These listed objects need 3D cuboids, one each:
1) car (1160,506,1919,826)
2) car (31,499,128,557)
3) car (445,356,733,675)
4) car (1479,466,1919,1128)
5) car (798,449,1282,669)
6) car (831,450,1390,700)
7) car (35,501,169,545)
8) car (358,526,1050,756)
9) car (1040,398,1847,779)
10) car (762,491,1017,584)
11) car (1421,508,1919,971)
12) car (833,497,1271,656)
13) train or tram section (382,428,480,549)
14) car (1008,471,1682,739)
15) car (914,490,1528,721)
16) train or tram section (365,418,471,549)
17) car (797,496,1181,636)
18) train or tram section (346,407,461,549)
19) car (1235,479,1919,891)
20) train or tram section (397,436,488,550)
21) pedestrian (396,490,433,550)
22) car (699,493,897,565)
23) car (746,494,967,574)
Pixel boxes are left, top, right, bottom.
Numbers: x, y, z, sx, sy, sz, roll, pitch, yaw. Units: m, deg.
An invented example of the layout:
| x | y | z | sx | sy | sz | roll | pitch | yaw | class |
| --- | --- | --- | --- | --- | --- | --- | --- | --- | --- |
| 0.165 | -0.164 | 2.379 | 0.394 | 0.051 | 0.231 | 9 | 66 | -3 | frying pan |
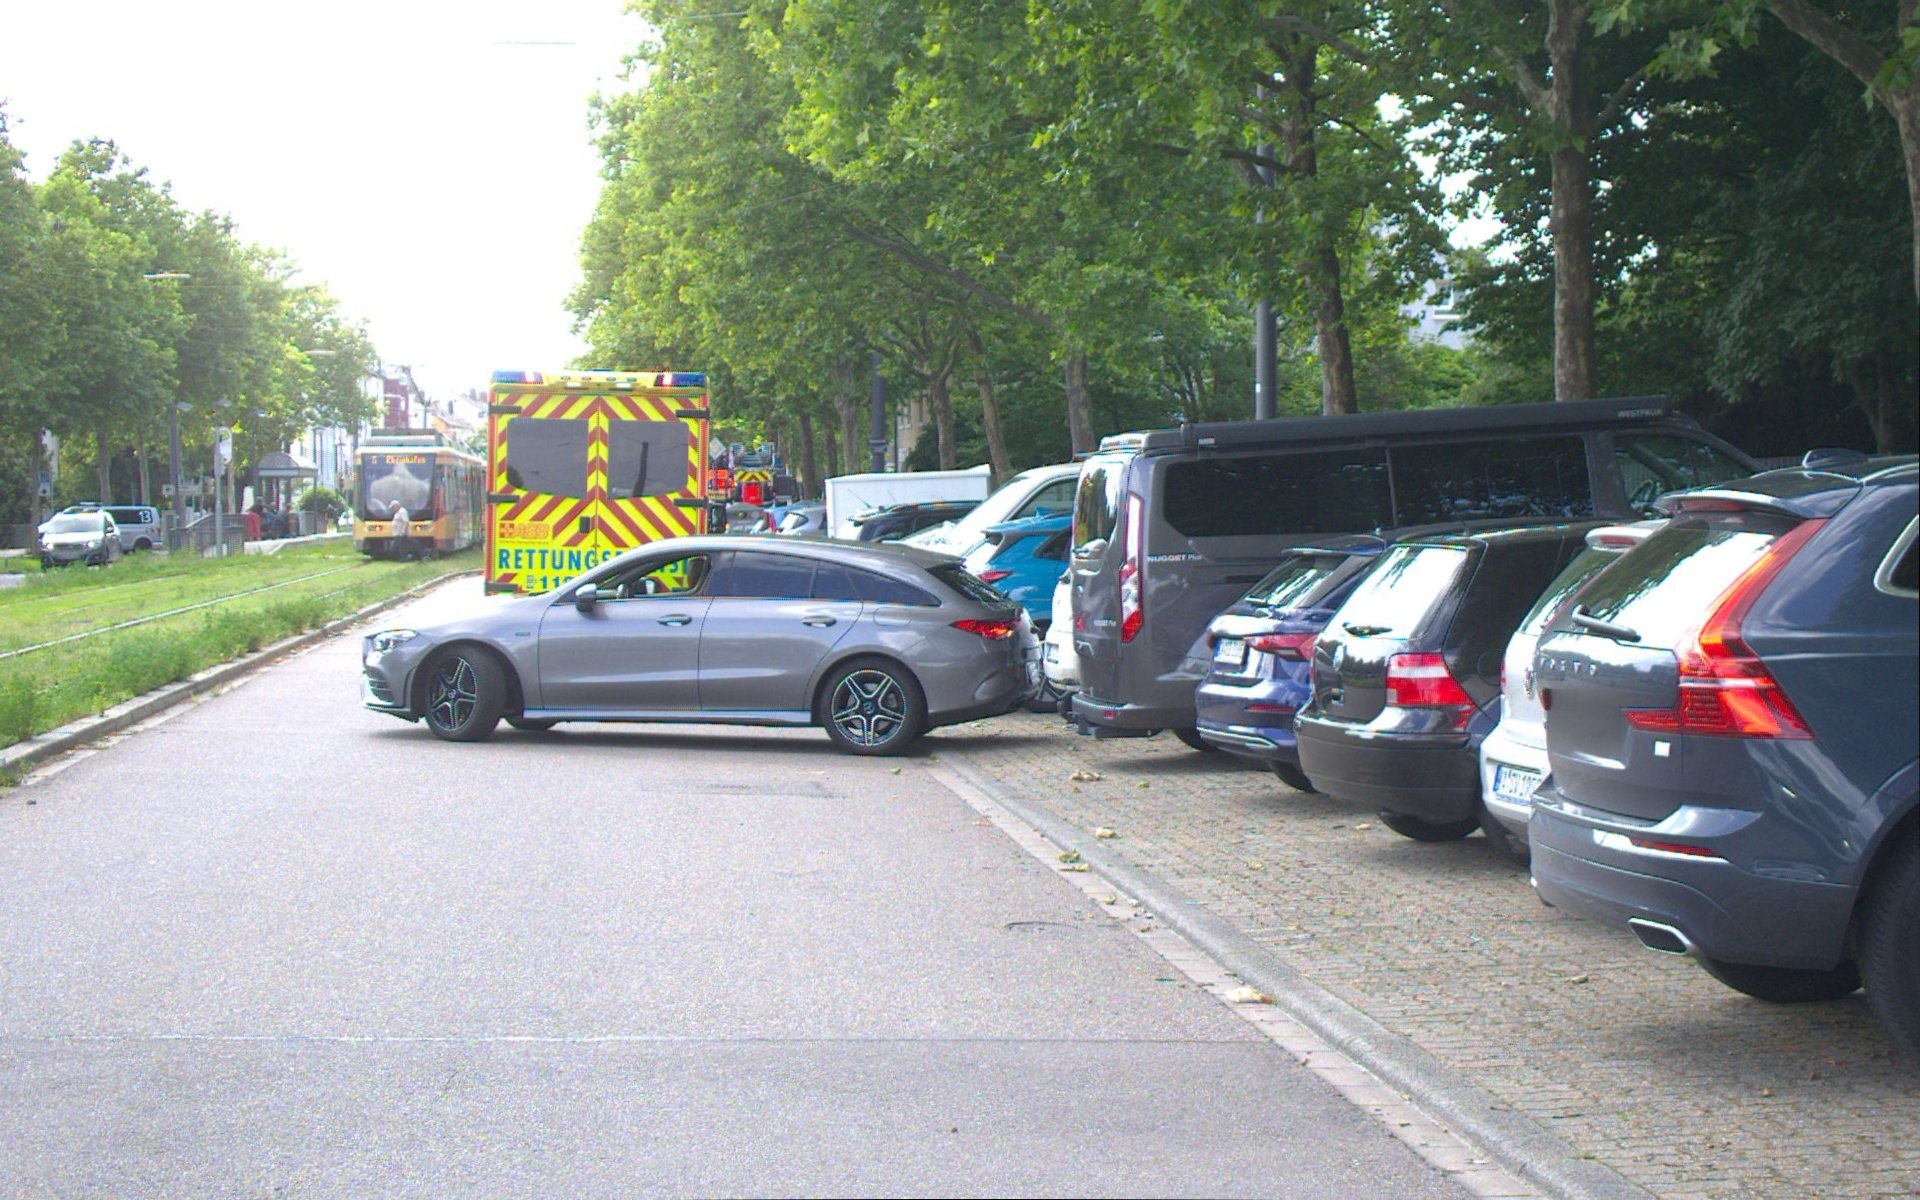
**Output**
| x | y | z | sx | sy | sz | roll | pitch | yaw | class |
| --- | --- | --- | --- | --- | --- | --- | --- | --- | --- |
| 3.164 | 0.298 | 17.931 | 3.965 | 1.489 | 1.756 | -1 | 1 | -6 | car |
| -24.774 | -2.050 | 96.854 | 1.993 | 1.552 | 4.371 | -2 | 2 | -6 | car |
| -3.782 | -0.882 | 36.151 | 2.641 | 2.956 | 6.301 | 2 | 1 | -4 | car |
| 3.811 | 0.422 | 9.561 | 4.380 | 1.634 | 1.756 | -1 | 2 | -4 | car |
| 0.767 | -0.433 | 34.534 | 4.544 | 2.036 | 1.856 | -2 | 2 | -9 | car |
| 1.266 | -0.247 | 29.967 | 4.544 | 1.994 | 1.856 | -2 | 2 | -9 | car |
| -32.672 | -2.946 | 131.048 | 4.616 | 1.627 | 1.882 | -2 | 2 | -44 | car |
| -1.698 | 0.246 | 23.592 | 4.454 | 1.381 | 1.766 | 2 | 1 | 7 | car |
| 2.883 | -0.101 | 21.053 | 4.545 | 2.116 | 1.856 | -1 | 2 | -6 | car |
| -1.345 | -1.184 | 64.652 | 4.544 | 1.603 | 1.856 | -2 | 2 | -9 | car |
| 3.838 | 0.410 | 12.454 | 3.965 | 1.489 | 1.756 | -1 | 2 | -6 | car |
| 0.988 | -0.285 | 38.045 | 4.544 | 1.603 | 1.856 | -2 | 2 | -9 | car |
| -16.357 | -3.397 | 106.656 | 2.511 | 3.572 | 7.447 | -2 | 1 | -6 | train or tram section |
| 2.738 | -0.001 | 25.012 | 4.545 | 1.760 | 1.856 | -1 | 2 | -6 | car |
| 2.042 | 0.008 | 27.495 | 4.544 | 1.654 | 1.856 | -2 | 2 | -10 | car |
| -15.586 | -3.294 | 99.249 | 2.511 | 3.572 | 7.447 | -2 | 1 | -6 | train or tram section |
| 0.333 | -0.447 | 43.163 | 4.544 | 1.603 | 1.856 | -2 | 2 | -9 | car |
| -14.809 | -3.191 | 91.855 | 2.511 | 3.572 | 7.447 | -2 | 1 | -6 | train or tram section |
| 3.400 | 0.289 | 15.151 | 3.964 | 1.600 | 1.757 | -2 | 2 | -16 | car |
| -17.119 | -3.500 | 114.061 | 2.511 | 3.572 | 7.447 | -2 | 1 | -6 | train or tram section |
| -13.859 | -2.028 | 87.379 | 0.880 | 1.520 | 0.751 | 1 | 1 | -6 | pedestrian |
| -3.908 | -1.709 | 82.578 | 4.544 | 1.603 | 1.856 | -2 | 2 | -9 | car |
| -2.252 | -1.446 | 74.460 | 4.544 | 1.603 | 1.856 | -2 | 2 | -9 | car |
